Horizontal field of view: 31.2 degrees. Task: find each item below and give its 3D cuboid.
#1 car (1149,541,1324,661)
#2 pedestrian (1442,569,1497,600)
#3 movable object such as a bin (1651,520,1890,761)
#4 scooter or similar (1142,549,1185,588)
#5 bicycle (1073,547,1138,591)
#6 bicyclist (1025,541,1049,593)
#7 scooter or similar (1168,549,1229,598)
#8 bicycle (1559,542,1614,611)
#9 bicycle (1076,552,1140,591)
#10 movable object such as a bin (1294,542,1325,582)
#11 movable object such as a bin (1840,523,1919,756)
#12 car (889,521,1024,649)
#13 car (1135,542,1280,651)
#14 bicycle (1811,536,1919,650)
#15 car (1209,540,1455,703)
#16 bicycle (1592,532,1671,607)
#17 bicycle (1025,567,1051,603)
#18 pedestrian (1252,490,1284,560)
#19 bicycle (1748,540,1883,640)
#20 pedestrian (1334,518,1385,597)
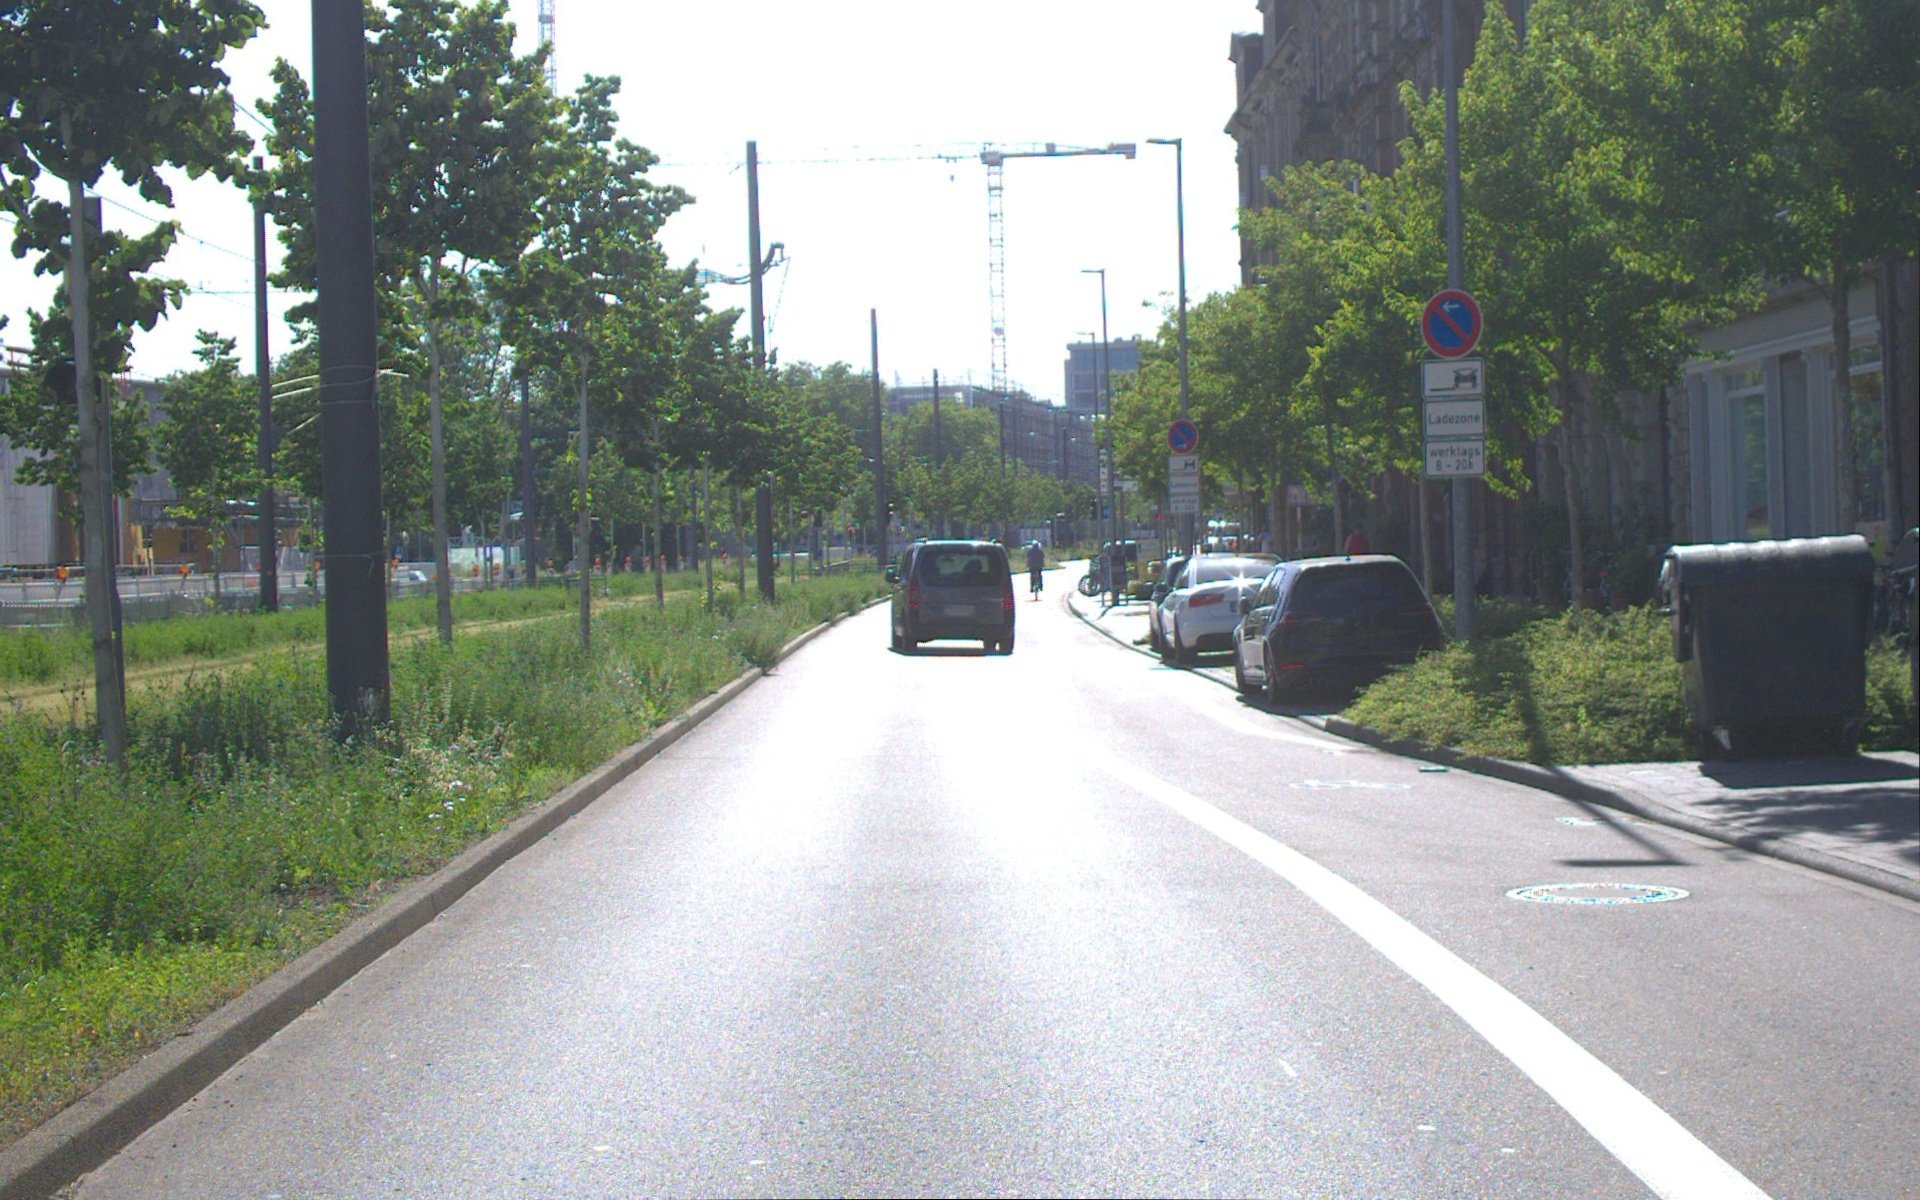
[{"bbox_3d":[3.819,-0.020,48.332,1.951,1.490,5.105,-3,1,0],"label":"car"},{"bbox_3d":[10.204,-0.320,68.917,0.773,0.551,2.008,-2,1,0],"label":"pedestrian"},{"bbox_3d":[5.343,0.243,22.795,1.271,1.458,1.644,-2,3,4],"label":"movable object such as a bin"},{"bbox_3d":[6.087,-0.935,102.837,1.220,1.102,0.783,-3,1,3],"label":"scooter or similar"},{"bbox_3d":[4.481,-0.942,105.696,1.878,1.229,0.500,-4,0,-5],"label":"bicycle"},{"bbox_3d":[2.382,-1.014,105.765,0.683,1.579,0.840,-1,1,0],"label":"bicyclist"},{"bbox_3d":[6.387,-0.717,92.096,1.473,1.212,0.602,-4,2,-4],"label":"scooter or similar"},{"bbox_3d":[10.275,-0.391,56.434,0.481,1.086,2.057,-3,1,0],"label":"bicycle"},{"bbox_3d":[4.608,-0.887,107.231,1.824,1.075,0.665,-4,0,-6],"label":"bicycle"},{"bbox_3d":[9.900,-1.078,97.440,0.725,1.094,0.748,-1,1,-4],"label":"movable object such as a bin"},{"bbox_3d":[6.817,0.206,22.919,1.373,1.490,1.749,-4,0,1],"label":"movable object such as a bin"},{"bbox_3d":[-0.095,-0.246,56.228,1.993,2.007,4.000,0,0,-3],"label":"car"},{"bbox_3d":[3.918,-0.066,55.068,1.884,1.564,4.220,-4,0,-1],"label":"car"},{"bbox_3d":[10.016,-0.084,37.890,0.748,1.197,1.801,-3,0,-1],"label":"bicycle"},{"bbox_3d":[3.778,0.205,35.625,1.765,1.472,4.449,-4,0,-3],"label":"car"},{"bbox_3d":[10.159,-0.468,52.088,0.721,1.086,2.198,-3,1,0],"label":"bicycle"},{"bbox_3d":[2.381,-0.470,105.601,0.701,1.087,2.277,-1,1,-1],"label":"bicycle"},{"bbox_3d":[9.043,-2.189,100.981,0.817,2.007,1.046,0,-2,0],"label":"pedestrian"},{"bbox_3d":[10.171,-0.132,40.955,0.875,1.101,2.182,-4,1,-3],"label":"bicycle"},{"bbox_3d":[8.863,-0.936,76.272,0.996,1.725,0.866,0,0,0],"label":"pedestrian"}]
